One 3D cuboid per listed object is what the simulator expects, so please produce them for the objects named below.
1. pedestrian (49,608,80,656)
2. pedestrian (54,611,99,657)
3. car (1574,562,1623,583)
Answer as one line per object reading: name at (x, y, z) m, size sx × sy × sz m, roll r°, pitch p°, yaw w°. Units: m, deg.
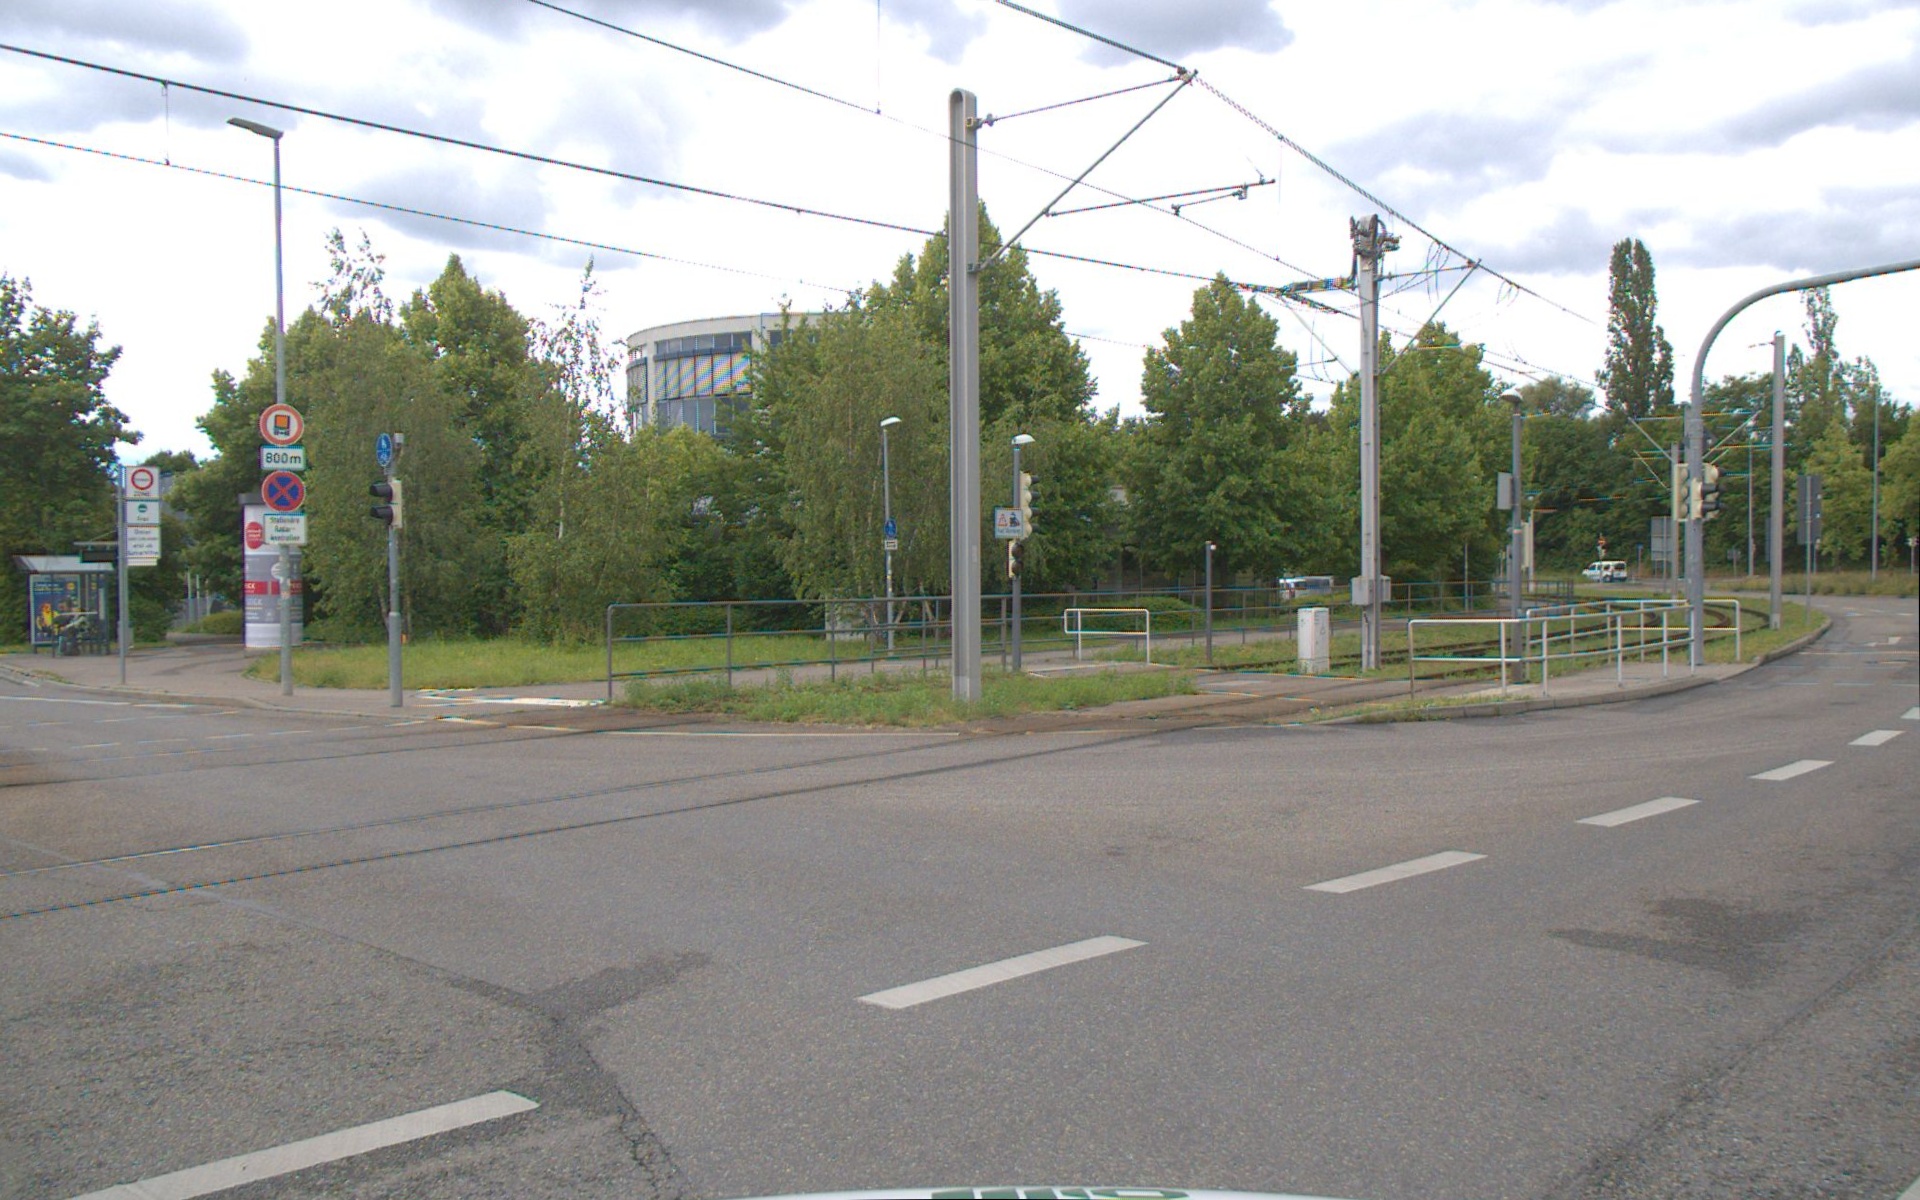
pedestrian at (-25.696, 0.908, 47.480) m, size 0.721 × 1.339 × 0.582 m, roll -1°, pitch 0°, yaw -33°
pedestrian at (-24.830, 0.953, 46.495) m, size 0.753 × 1.274 × 0.777 m, roll -1°, pitch 0°, yaw 13°
car at (55.926, -2.406, 144.907) m, size 1.968 × 1.758 × 3.699 m, roll -1°, pitch 1°, yaw -24°
